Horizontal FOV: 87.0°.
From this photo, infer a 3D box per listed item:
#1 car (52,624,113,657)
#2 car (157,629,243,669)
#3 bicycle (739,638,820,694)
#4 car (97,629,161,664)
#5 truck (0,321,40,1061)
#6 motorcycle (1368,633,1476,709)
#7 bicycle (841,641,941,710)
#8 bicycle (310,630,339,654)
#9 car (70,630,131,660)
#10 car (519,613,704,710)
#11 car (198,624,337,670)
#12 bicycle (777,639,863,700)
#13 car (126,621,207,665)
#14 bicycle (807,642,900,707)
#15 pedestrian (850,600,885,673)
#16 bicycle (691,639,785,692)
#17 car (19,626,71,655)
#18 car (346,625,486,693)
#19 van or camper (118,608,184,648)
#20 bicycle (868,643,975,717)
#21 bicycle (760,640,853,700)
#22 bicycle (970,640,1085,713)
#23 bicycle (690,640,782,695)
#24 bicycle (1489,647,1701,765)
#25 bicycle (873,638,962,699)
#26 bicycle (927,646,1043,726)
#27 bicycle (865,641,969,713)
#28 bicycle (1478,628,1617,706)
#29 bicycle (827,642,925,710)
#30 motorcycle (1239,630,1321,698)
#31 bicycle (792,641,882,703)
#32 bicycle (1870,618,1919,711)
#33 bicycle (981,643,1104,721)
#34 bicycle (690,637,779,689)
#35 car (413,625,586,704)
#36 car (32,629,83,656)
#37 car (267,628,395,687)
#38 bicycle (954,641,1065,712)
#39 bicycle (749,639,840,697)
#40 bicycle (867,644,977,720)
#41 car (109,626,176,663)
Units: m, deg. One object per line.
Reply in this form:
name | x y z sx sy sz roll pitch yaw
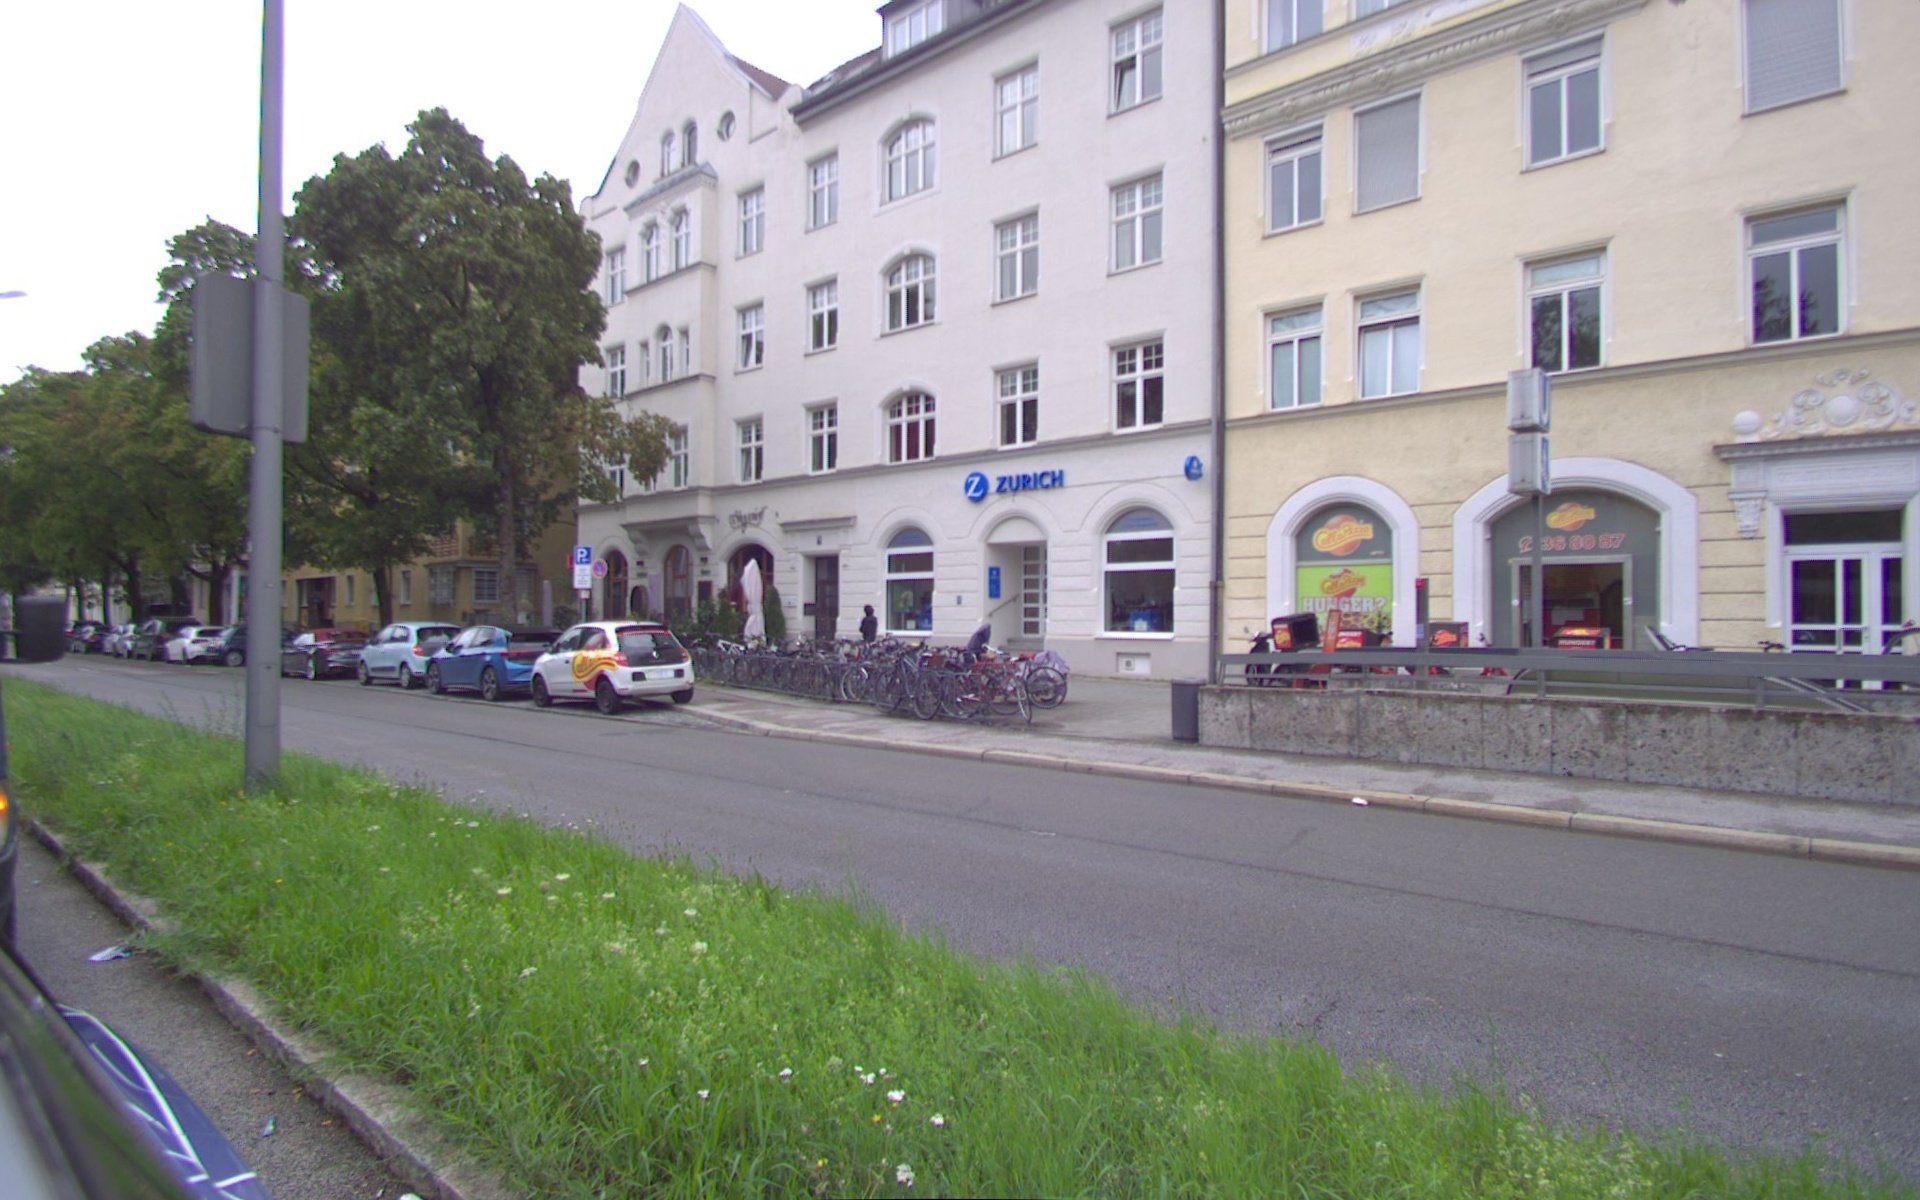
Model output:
car | -47.323 2.156 54.550 4.768 1.658 1.859 -1 -2 41
car | -28.626 1.807 38.095 4.401 1.413 1.708 -1 -2 41
bicycle | -3.736 1.360 20.950 1.664 1.124 0.329 -1 -1 14
car | -39.263 2.167 47.798 4.055 1.573 1.709 -1 -2 41
truck | -5.773 0.335 4.451 5.148 2.508 1.973 -1 -2 41
motorcycle | 7.568 1.133 16.678 0.600 1.130 1.991 0 -1 -9
bicycle | -1.166 1.256 16.983 1.667 1.124 0.328 -1 -2 18
bicycle | -33.215 2.194 52.881 1.929 1.231 0.762 -1 -2 41
car | -42.972 2.221 50.586 4.361 1.416 1.709 -1 -2 41
car | -6.457 1.051 18.571 3.790 1.597 1.631 -1 -2 43
car | -25.141 1.664 36.814 1.730 1.475 3.851 -1 -1 39
bicycle | -2.672 1.313 19.274 1.667 1.124 0.328 -1 -2 18
car | -32.918 1.753 41.946 4.765 1.741 1.791 -1 -2 41
bicycle | -1.918 1.312 18.100 1.667 1.124 0.328 -1 -2 18
pedestrian | -2.127 0.841 23.336 0.416 1.644 0.784 1 -2 -43
bicycle | -4.859 1.422 22.151 1.966 1.124 0.503 -1 -1 10
car | -55.818 2.426 61.718 4.436 1.699 1.854 -1 -2 41
car | -13.469 1.388 24.977 3.958 1.518 1.792 -1 -2 41
van or camper | -55.082 1.925 68.868 6.847 2.599 2.321 -1 -2 41
bicycle | -0.616 1.244 15.932 1.667 1.124 0.328 -1 -2 18
bicycle | -3.012 1.356 19.820 1.859 1.124 0.328 -1 -2 18
bicycle | 1.072 1.209 16.153 1.799 1.124 0.394 -1 -2 18
bicycle | -4.773 1.428 21.590 1.860 1.124 0.548 -1 -1 10
bicycle | 6.511 1.058 10.470 1.808 1.124 0.392 -1 -2 33
bicycle | -0.813 1.285 19.171 1.667 1.124 0.328 -1 -2 18
bicycle | 0.355 1.230 14.691 1.667 1.124 0.328 -1 -2 18
bicycle | -0.700 1.236 16.381 1.667 1.124 0.365 -1 -2 18
bicycle | 7.878 0.879 13.617 1.544 0.988 0.468 -1 -2 41
bicycle | -1.456 1.299 17.495 1.667 1.124 0.380 -1 -2 18
motorcycle | 5.874 1.153 18.718 0.600 1.139 1.991 0 -1 -9
bicycle | -2.285 1.318 18.710 1.667 1.124 0.328 -1 -2 18
bicycle | 10.651 0.684 10.666 1.544 0.988 0.468 -1 -2 41
bicycle | 1.227 1.213 15.153 1.799 1.124 0.394 -1 -2 18
bicycle | -5.060 1.408 22.716 1.944 1.124 0.457 -1 -1 10
car | -9.939 1.307 21.706 4.289 1.518 1.792 -1 -2 41
car | -51.961 2.430 58.249 4.490 1.465 1.674 -1 -2 41
car | -17.787 1.547 28.536 4.643 1.518 1.792 -1 -2 41
bicycle | 0.814 1.242 16.707 1.799 1.124 0.394 -1 -2 18
bicycle | -3.333 1.357 20.338 1.859 1.124 0.328 -1 -2 18
bicycle | -0.585 1.242 15.509 1.667 1.124 0.366 -1 -2 18
car | -36.176 1.932 44.792 3.007 1.569 1.710 -1 -2 39
